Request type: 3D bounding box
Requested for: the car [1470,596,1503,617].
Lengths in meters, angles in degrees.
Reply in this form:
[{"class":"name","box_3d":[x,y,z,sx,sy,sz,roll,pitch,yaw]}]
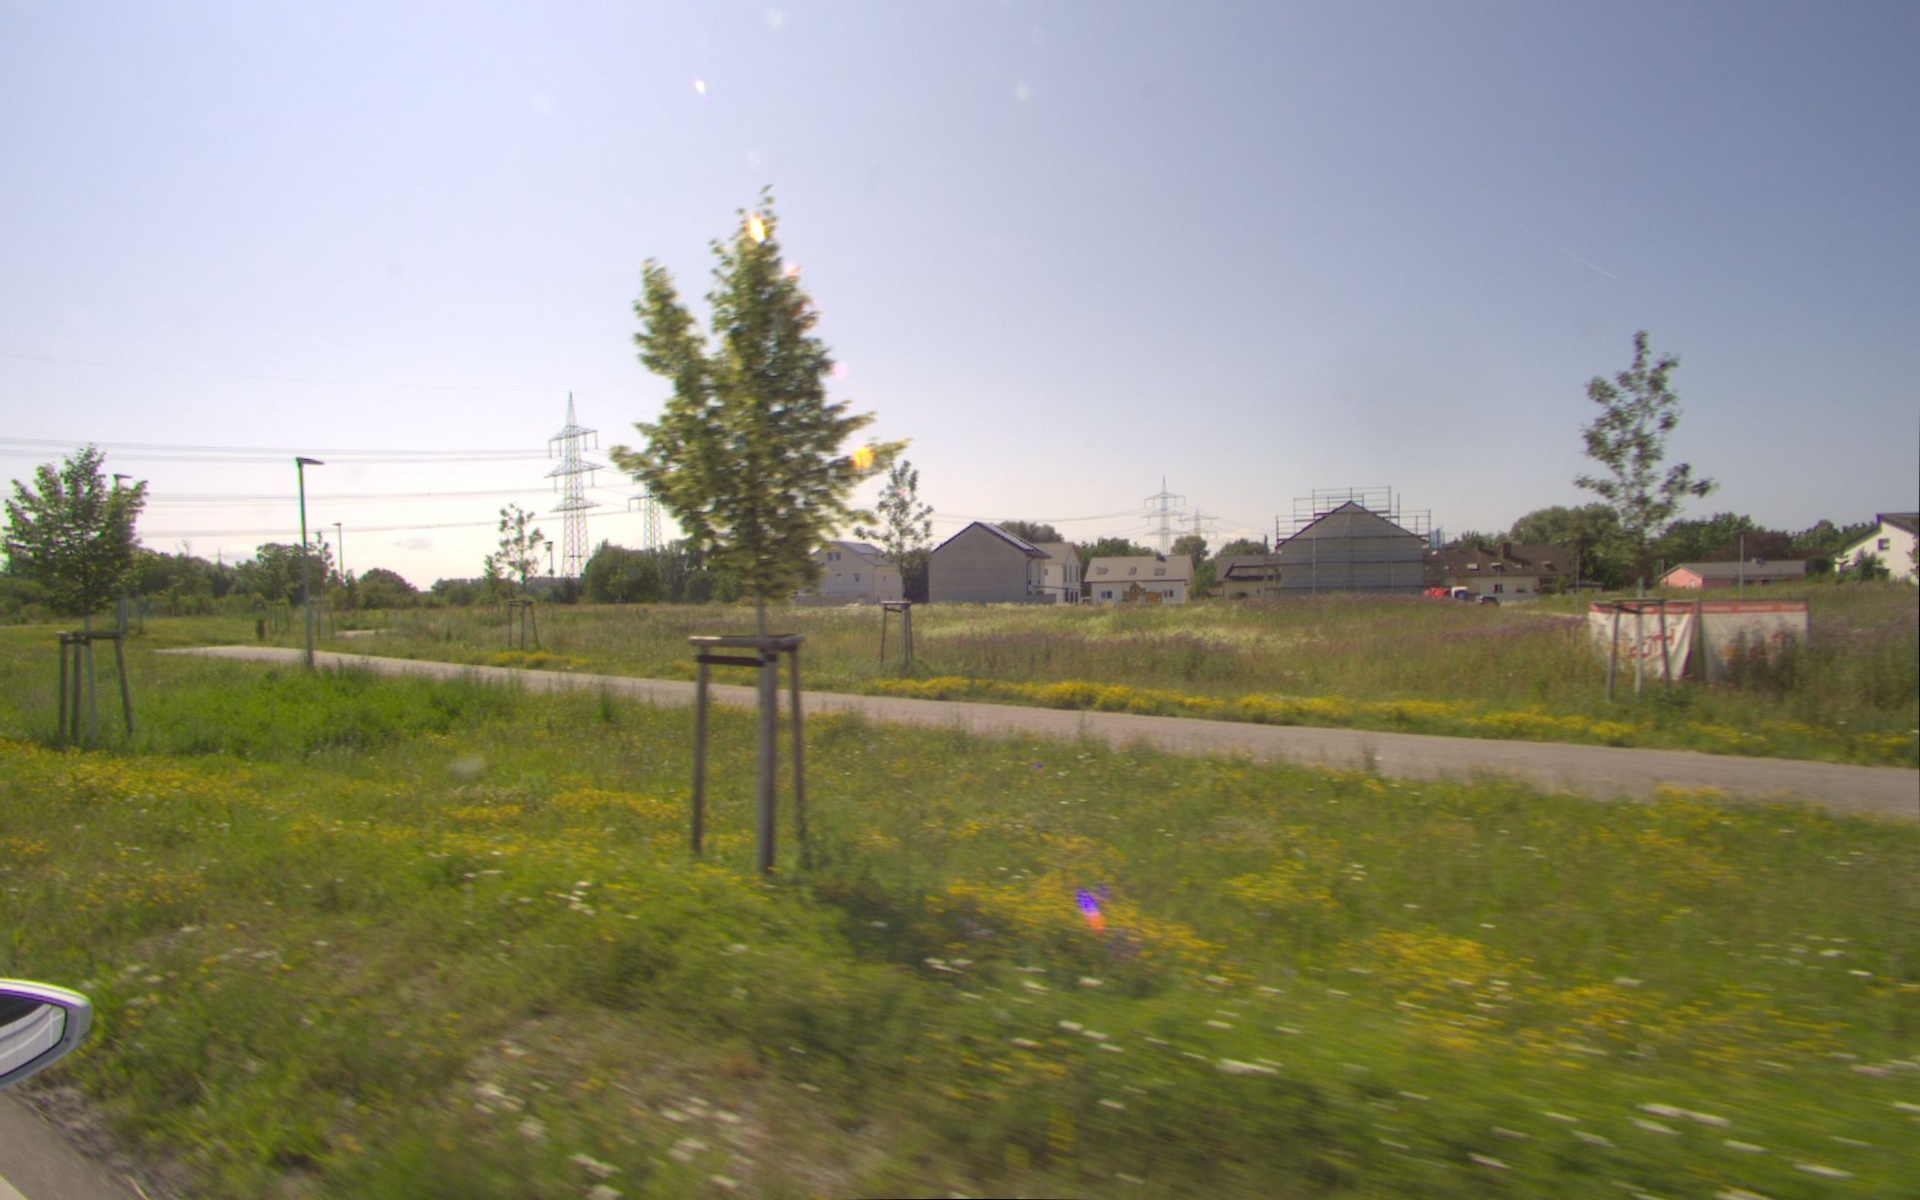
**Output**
[{"class":"car","box_3d":[43.675,0.502,83.141,1.711,1.540,3.992,-1,2,17]}]
